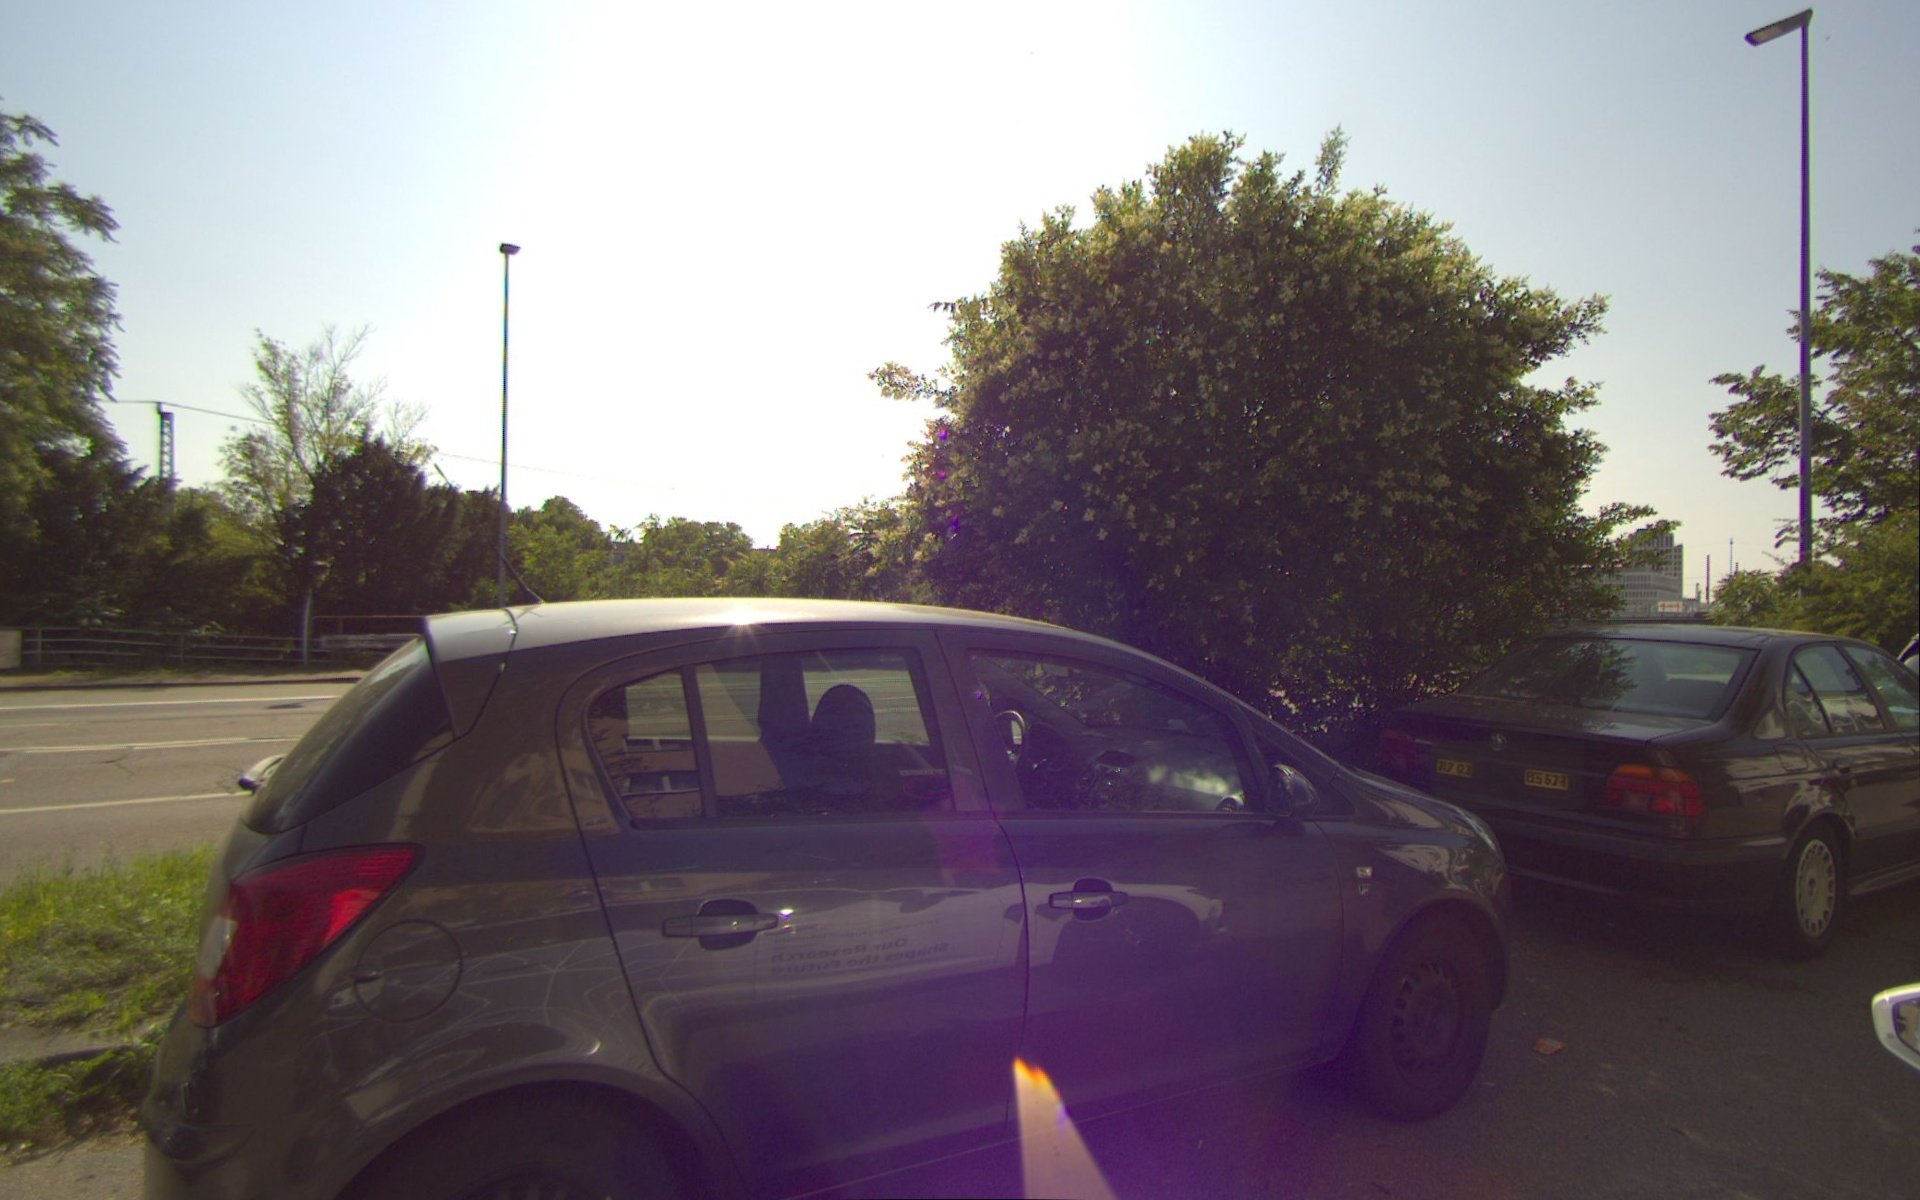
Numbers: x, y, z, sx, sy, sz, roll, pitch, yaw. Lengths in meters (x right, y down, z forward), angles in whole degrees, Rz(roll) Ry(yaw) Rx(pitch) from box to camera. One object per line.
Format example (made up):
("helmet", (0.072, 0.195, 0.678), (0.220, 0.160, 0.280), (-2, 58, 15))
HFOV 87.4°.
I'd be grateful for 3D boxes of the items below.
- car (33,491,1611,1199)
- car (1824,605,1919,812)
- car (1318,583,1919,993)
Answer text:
("car", (0.016, 0.614, 3.041), (3.829, 1.494, 1.656), (1, 1, -29))
("car", (8.808, 0.839, 8.022), (3.743, 1.493, 1.656), (1, 2, -29))
("car", (4.278, 0.730, 5.653), (4.538, 1.532, 1.656), (1, 2, -29))
